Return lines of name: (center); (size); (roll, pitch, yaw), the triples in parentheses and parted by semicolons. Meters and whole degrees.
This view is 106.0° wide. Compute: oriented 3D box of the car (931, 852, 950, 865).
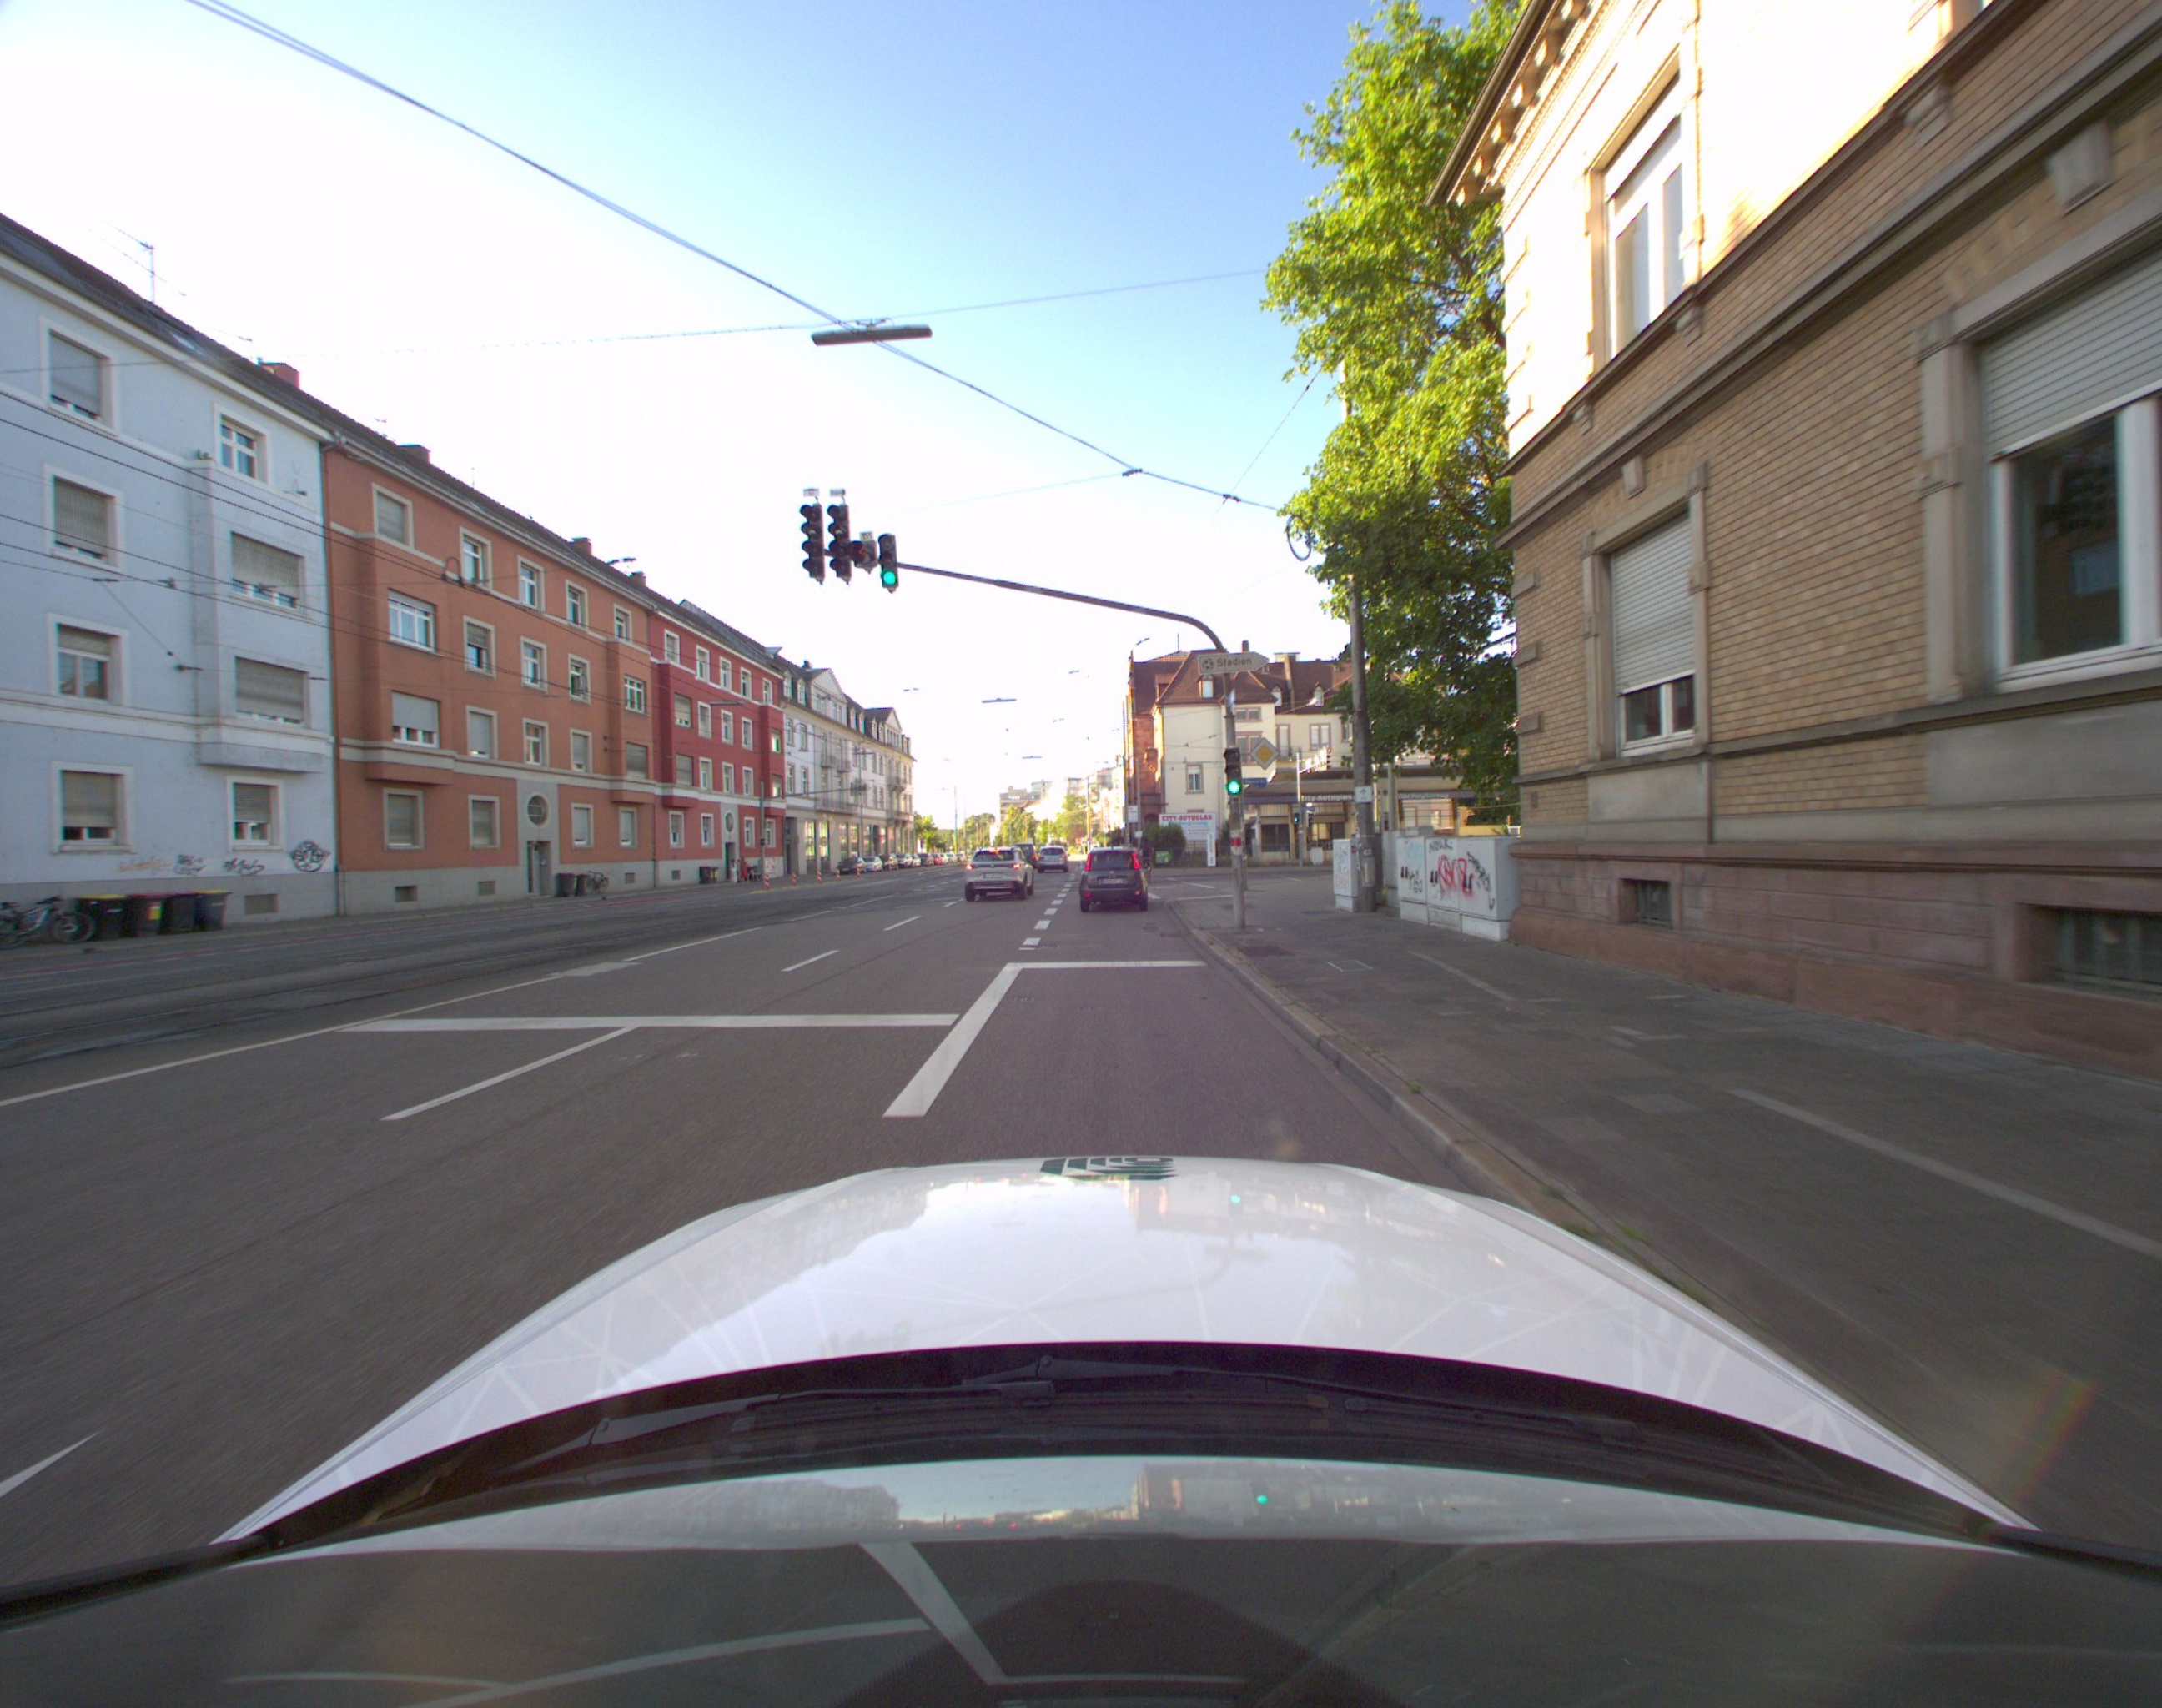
car: (-18.390, 0.541, 106.647); (1.713, 1.552, 4.001); (-2, 0, 1)

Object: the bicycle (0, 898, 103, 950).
bicycle: (-22.906, 1.510, 17.875); (0.603, 0.980, 1.877); (-1, 0, 1)

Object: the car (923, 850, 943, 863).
car: (-18.467, 0.284, 101.901); (1.713, 1.552, 4.001); (-2, 1, 1)

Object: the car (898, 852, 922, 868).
car: (-19.036, 0.653, 90.869); (1.713, 1.552, 4.001); (-2, 1, 1)

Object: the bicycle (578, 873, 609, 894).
bicycle: (-22.631, 1.360, 37.807); (0.333, 0.890, 1.607); (-2, 0, 5)

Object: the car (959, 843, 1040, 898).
car: (-2.440, 0.442, 25.270); (1.940, 1.528, 4.092); (-1, 1, 2)

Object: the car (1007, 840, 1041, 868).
car: (-4.436, -0.031, 63.776); (2.164, 2.009, 4.809); (-2, 0, 1)

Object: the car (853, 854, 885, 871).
car: (-19.217, 0.750, 74.002); (1.713, 1.452, 4.001); (-2, 1, 1)

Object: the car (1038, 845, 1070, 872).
car: (-1.642, 0.274, 51.136); (1.808, 1.582, 4.000); (-2, 0, 0)

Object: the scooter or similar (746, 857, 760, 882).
scooter or similar: (-21.373, 1.017, 53.063); (0.657, 1.633, 0.787); (-2, 0, -31)

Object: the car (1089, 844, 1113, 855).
car: (3.804, -0.782, 154.272); (4.256, 2.013, 1.994); (-1, 0, -9)

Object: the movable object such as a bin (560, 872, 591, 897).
movable object such as a bin: (-22.345, 1.327, 36.021); (0.841, 1.040, 0.810); (-2, 0, -4)

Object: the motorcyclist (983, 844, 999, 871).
motorcyclist: (-4.972, 0.190, 44.966); (0.775, 1.423, 0.891); (-2, 0, 0)

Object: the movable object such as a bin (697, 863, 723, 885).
movable object such as a bin: (-22.217, 1.181, 48.832); (0.866, 1.249, 1.236); (-2, 0, 7)

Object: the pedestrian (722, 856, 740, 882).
pedestrian: (-21.999, 0.938, 51.167); (0.786, 1.633, 0.658); (-1, 0, 19)

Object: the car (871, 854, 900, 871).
car: (-18.919, 0.785, 78.954); (1.713, 1.552, 3.857); (-2, 1, 1)

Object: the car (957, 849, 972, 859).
car: (-18.880, -0.023, 131.791); (1.713, 1.552, 4.001); (-2, 1, 1)

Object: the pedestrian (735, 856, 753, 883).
pedestrian: (-21.498, 0.986, 51.924); (0.835, 1.633, 0.786); (-2, 0, -37)

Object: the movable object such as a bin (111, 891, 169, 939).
movable object such as a bin: (-22.940, 1.489, 19.861); (0.700, 1.106, 0.583); (-1, 0, 1)

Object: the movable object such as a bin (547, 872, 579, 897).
movable object such as a bin: (-22.359, 1.303, 35.183); (0.841, 1.040, 0.810); (-2, 0, -4)

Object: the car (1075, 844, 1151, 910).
car: (0.879, 0.507, 20.707); (1.723, 1.500, 4.005); (-1, 1, 4)

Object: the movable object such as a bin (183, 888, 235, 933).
movable object such as a bin: (-22.791, 1.470, 21.290); (0.700, 1.106, 0.582); (-1, 0, 0)

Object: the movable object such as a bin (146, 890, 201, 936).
movable object such as a bin: (-22.873, 1.482, 20.526); (0.700, 1.106, 0.582); (-1, 0, 0)

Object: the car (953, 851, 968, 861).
car: (-18.582, 0.294, 125.777); (1.713, 1.552, 4.001); (-2, 1, 1)

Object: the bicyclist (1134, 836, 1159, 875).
bicyclist: (2.621, 0.045, 32.657); (0.832, 1.525, 0.992); (-1, 0, -4)

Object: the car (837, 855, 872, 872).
car: (-18.959, 0.789, 68.416); (1.713, 1.232, 4.001); (-2, 1, 1)

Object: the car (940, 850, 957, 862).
car: (-18.672, 0.308, 114.916); (1.713, 1.552, 4.001); (-2, 0, 1)

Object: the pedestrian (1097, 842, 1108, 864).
pedestrian: (1.843, -0.058, 68.837); (0.872, 1.824, 1.185); (-1, 0, 2)

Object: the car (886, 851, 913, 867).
car: (-19.065, 0.520, 85.728); (1.829, 1.552, 4.275); (-2, 1, 1)

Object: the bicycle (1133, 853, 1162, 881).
bicycle: (2.638, 0.506, 32.543); (0.770, 1.086, 1.866); (-2, 0, -8)

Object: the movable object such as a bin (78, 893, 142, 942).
movable object such as a bin: (-22.902, 1.490, 19.213); (0.700, 1.106, 0.648); (-1, 0, 1)

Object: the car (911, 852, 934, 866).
car: (-18.635, 0.606, 95.943); (1.713, 1.552, 4.001); (-2, 1, 1)

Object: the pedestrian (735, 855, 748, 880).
pedestrian: (-21.960, 0.873, 52.684); (0.657, 1.633, 0.787); (-2, 0, -31)
